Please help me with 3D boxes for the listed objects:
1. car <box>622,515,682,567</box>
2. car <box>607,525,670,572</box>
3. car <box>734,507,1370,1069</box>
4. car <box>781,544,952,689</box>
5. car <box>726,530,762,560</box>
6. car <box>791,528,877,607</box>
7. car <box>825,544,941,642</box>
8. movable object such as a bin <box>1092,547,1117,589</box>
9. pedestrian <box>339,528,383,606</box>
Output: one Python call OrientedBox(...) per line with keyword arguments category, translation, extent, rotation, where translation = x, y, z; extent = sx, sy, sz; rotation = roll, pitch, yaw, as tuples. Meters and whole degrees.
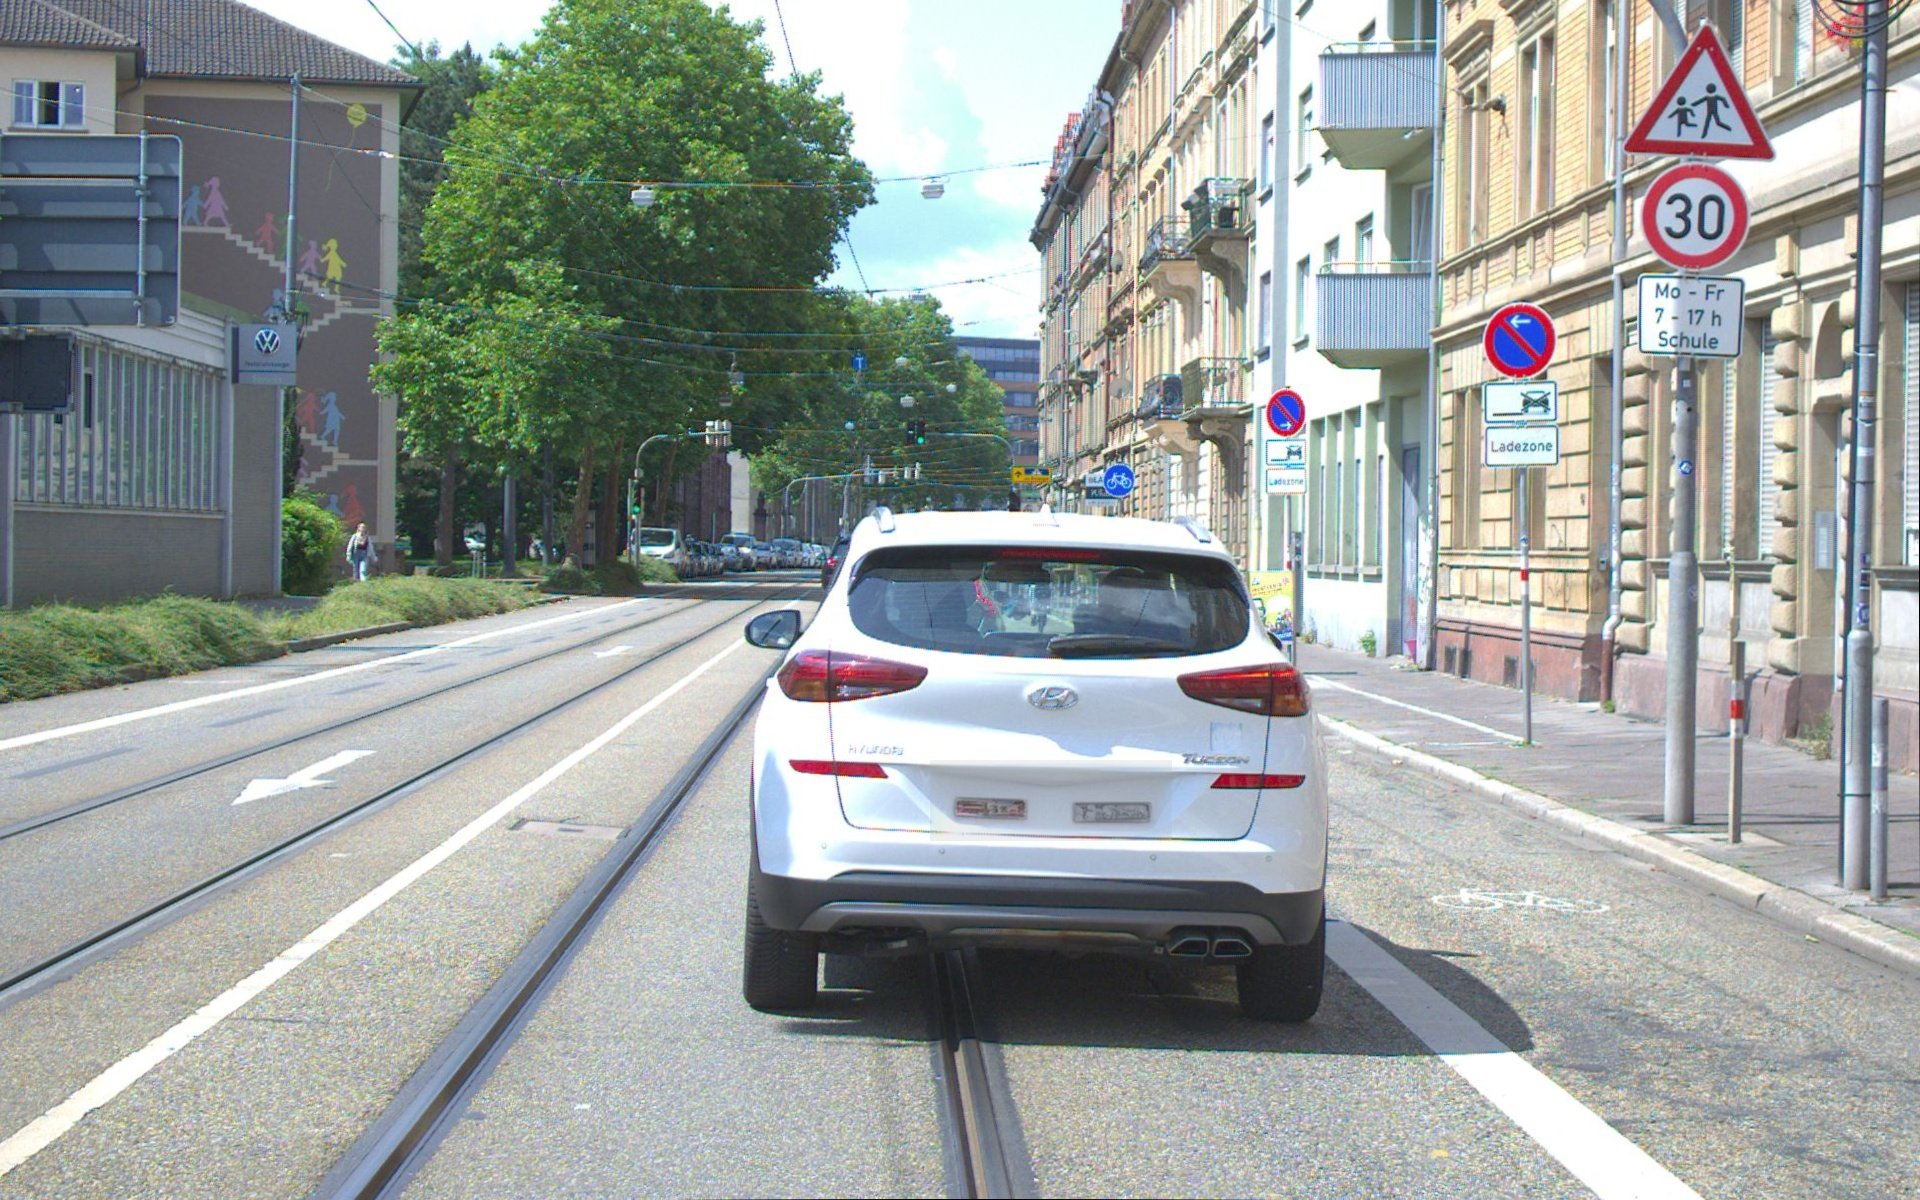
OrientedBox(category="car", translation=(-11.666, -2.238, 130.437), extent=(1.950, 1.888, 4.566), rotation=(2, 1, -2))
OrientedBox(category="car", translation=(-11.629, -1.878, 124.656), extent=(1.950, 1.626, 4.576), rotation=(2, 1, -2))
OrientedBox(category="car", translation=(0.141, 0.525, 12.345), extent=(1.852, 1.628, 4.181), rotation=(2, 1, -4))
OrientedBox(category="car", translation=(-1.010, 0.144, 38.636), extent=(1.814, 1.519, 4.085), rotation=(1, 1, 0))
OrientedBox(category="car", translation=(-12.213, -3.116, 194.601), extent=(1.950, 1.626, 4.001), rotation=(2, 1, -4))
OrientedBox(category="car", translation=(-2.750, -0.742, 75.883), extent=(1.814, 1.656, 4.085), rotation=(1, 1, -1))
OrientedBox(category="car", translation=(-1.270, -0.140, 56.481), extent=(1.814, 1.519, 3.956), rotation=(1, 1, -1))
OrientedBox(category="movable object such as a bin", translation=(3.989, -0.877, 94.796), extent=(0.612, 1.139, 0.638), rotation=(2, 1, -1))
OrientedBox(category="pedestrian", translation=(-14.446, -0.805, 82.985), extent=(0.880, 1.859, 1.081), rotation=(0, 1, -1))
